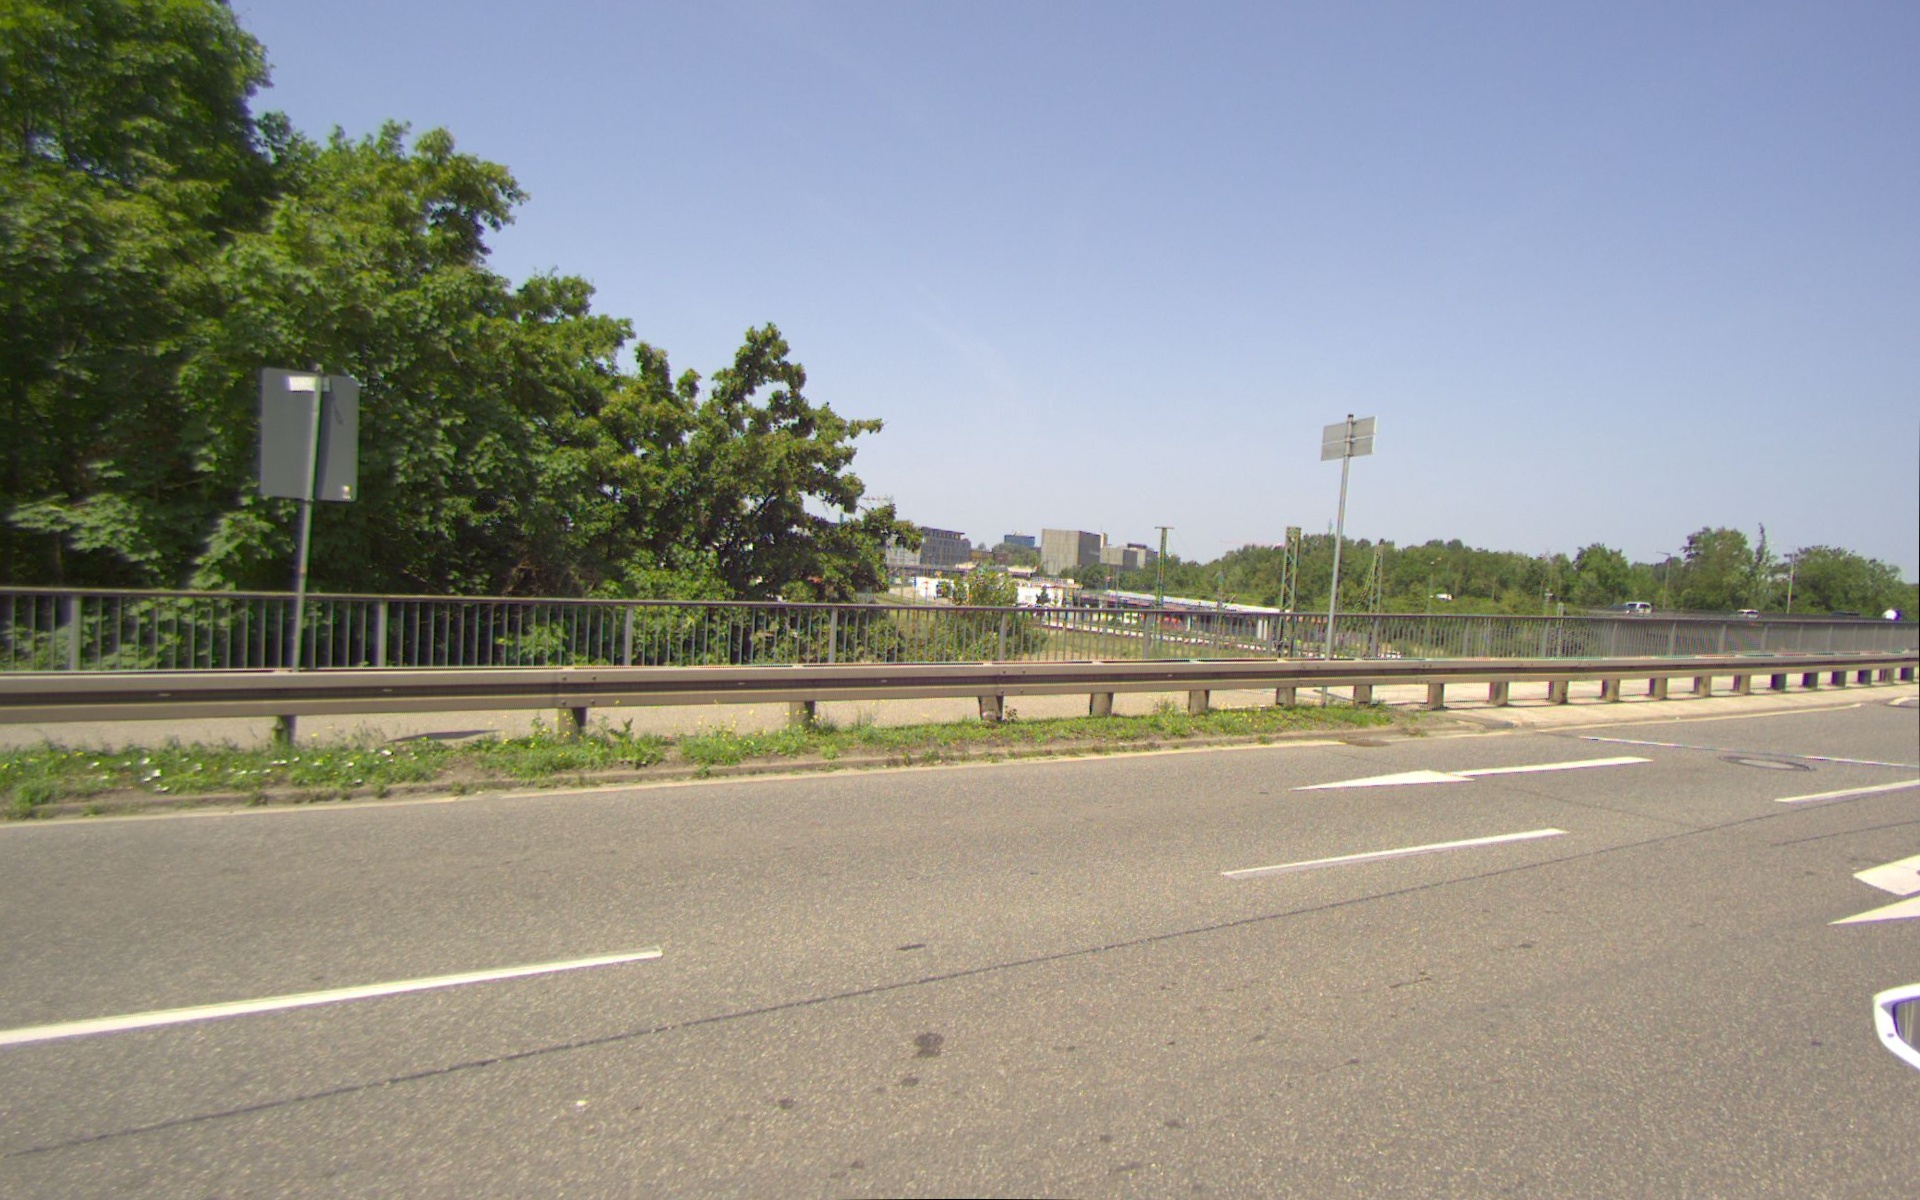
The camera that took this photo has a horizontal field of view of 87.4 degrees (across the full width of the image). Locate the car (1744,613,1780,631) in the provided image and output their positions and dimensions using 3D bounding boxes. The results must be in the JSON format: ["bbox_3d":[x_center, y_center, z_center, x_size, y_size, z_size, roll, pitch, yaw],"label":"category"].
[{"bbox_3d":[83.403,2.286,104.533,1.647,1.662,3.770,3,2,19],"label":"car"}]

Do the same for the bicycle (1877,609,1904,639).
[{"bbox_3d":[59.929,1.519,64.739,0.688,1.826,2.176,3,2,29],"label":"bicycle"}]
